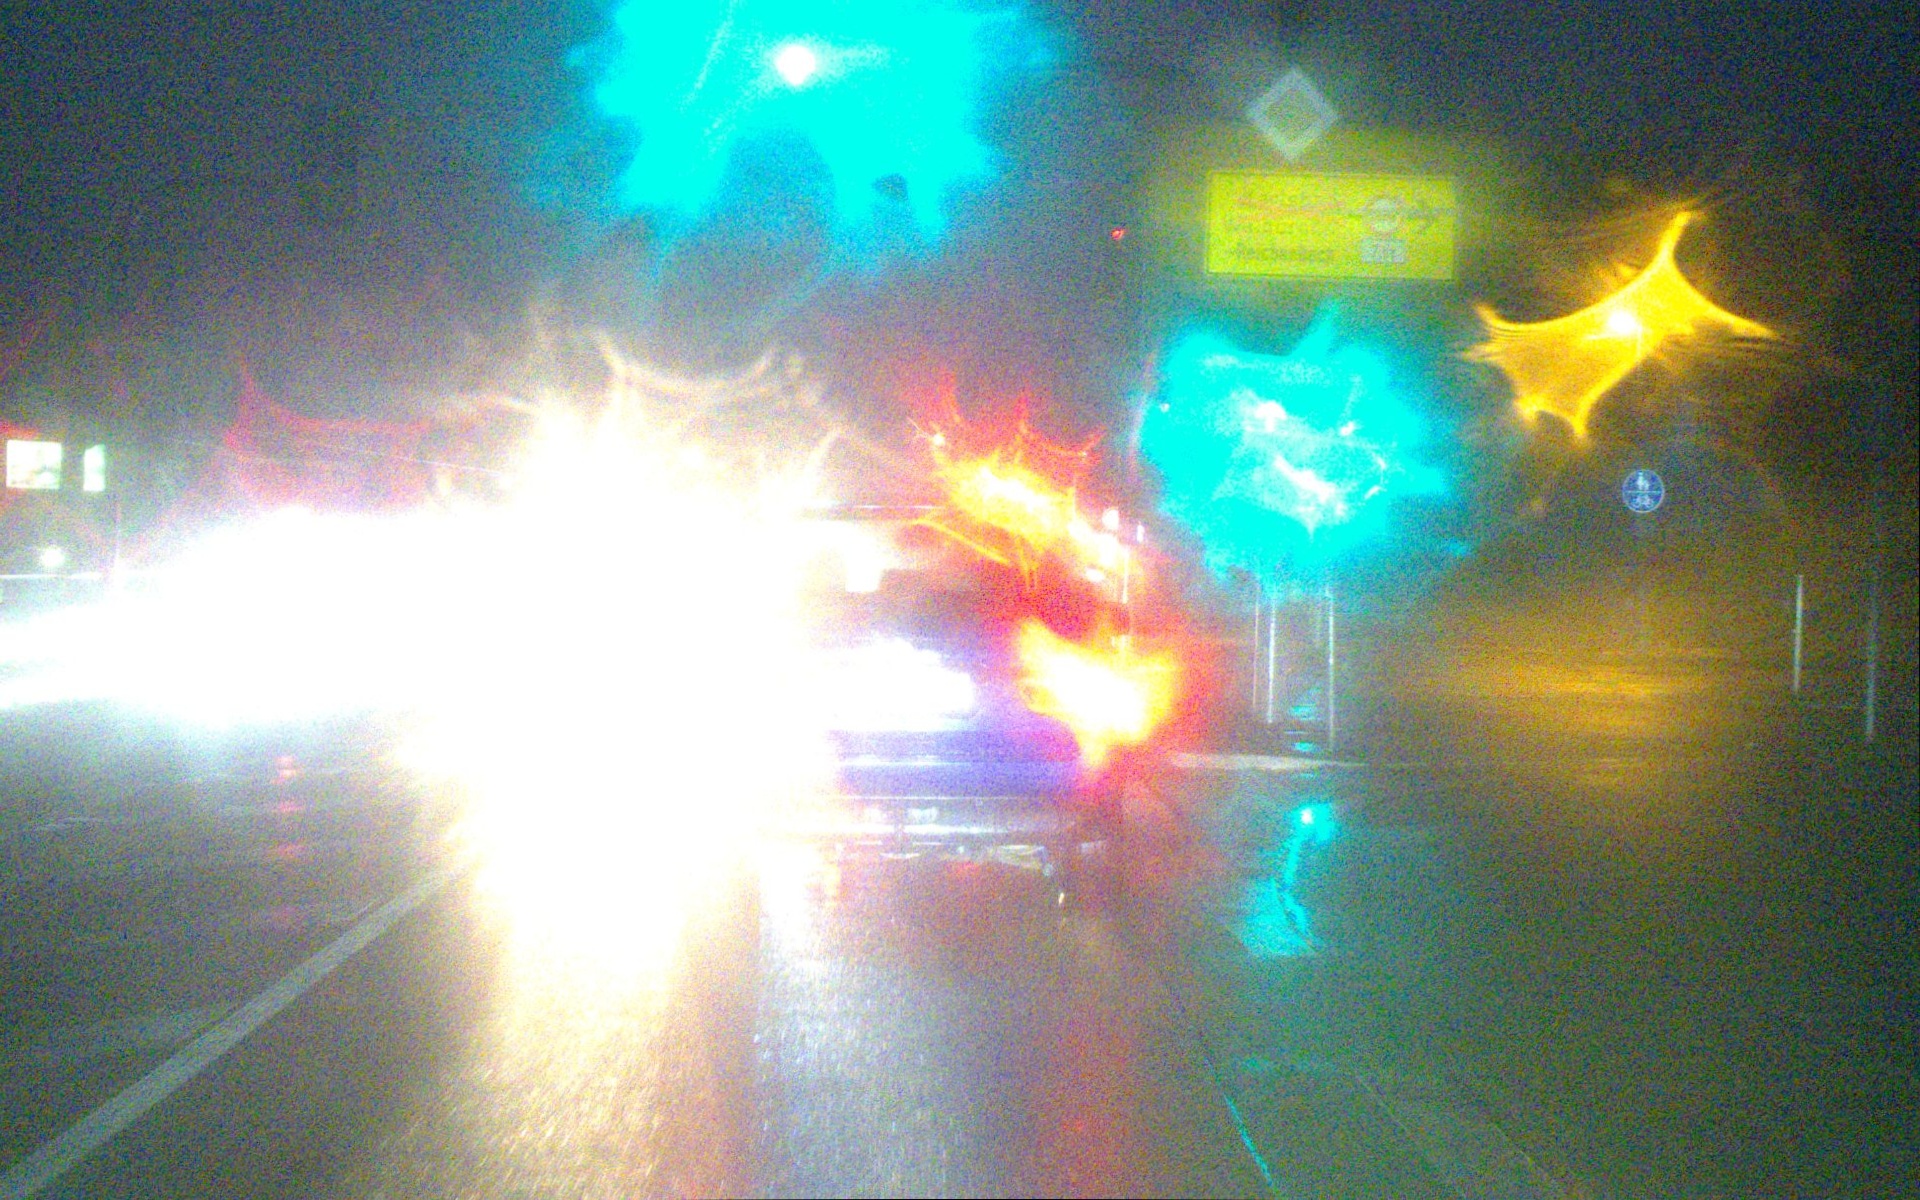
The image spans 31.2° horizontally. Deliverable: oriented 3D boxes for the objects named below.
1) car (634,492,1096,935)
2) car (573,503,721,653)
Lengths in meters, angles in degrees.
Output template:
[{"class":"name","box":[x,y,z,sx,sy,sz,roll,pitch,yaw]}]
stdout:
[{"class":"car","box":[-0.447,0.413,15.294,1.775,1.706,4.000,0,1,-2]},{"class":"car","box":[-4.488,-0.273,49.248,1.993,2.007,4.000,-1,-1,-5]}]
